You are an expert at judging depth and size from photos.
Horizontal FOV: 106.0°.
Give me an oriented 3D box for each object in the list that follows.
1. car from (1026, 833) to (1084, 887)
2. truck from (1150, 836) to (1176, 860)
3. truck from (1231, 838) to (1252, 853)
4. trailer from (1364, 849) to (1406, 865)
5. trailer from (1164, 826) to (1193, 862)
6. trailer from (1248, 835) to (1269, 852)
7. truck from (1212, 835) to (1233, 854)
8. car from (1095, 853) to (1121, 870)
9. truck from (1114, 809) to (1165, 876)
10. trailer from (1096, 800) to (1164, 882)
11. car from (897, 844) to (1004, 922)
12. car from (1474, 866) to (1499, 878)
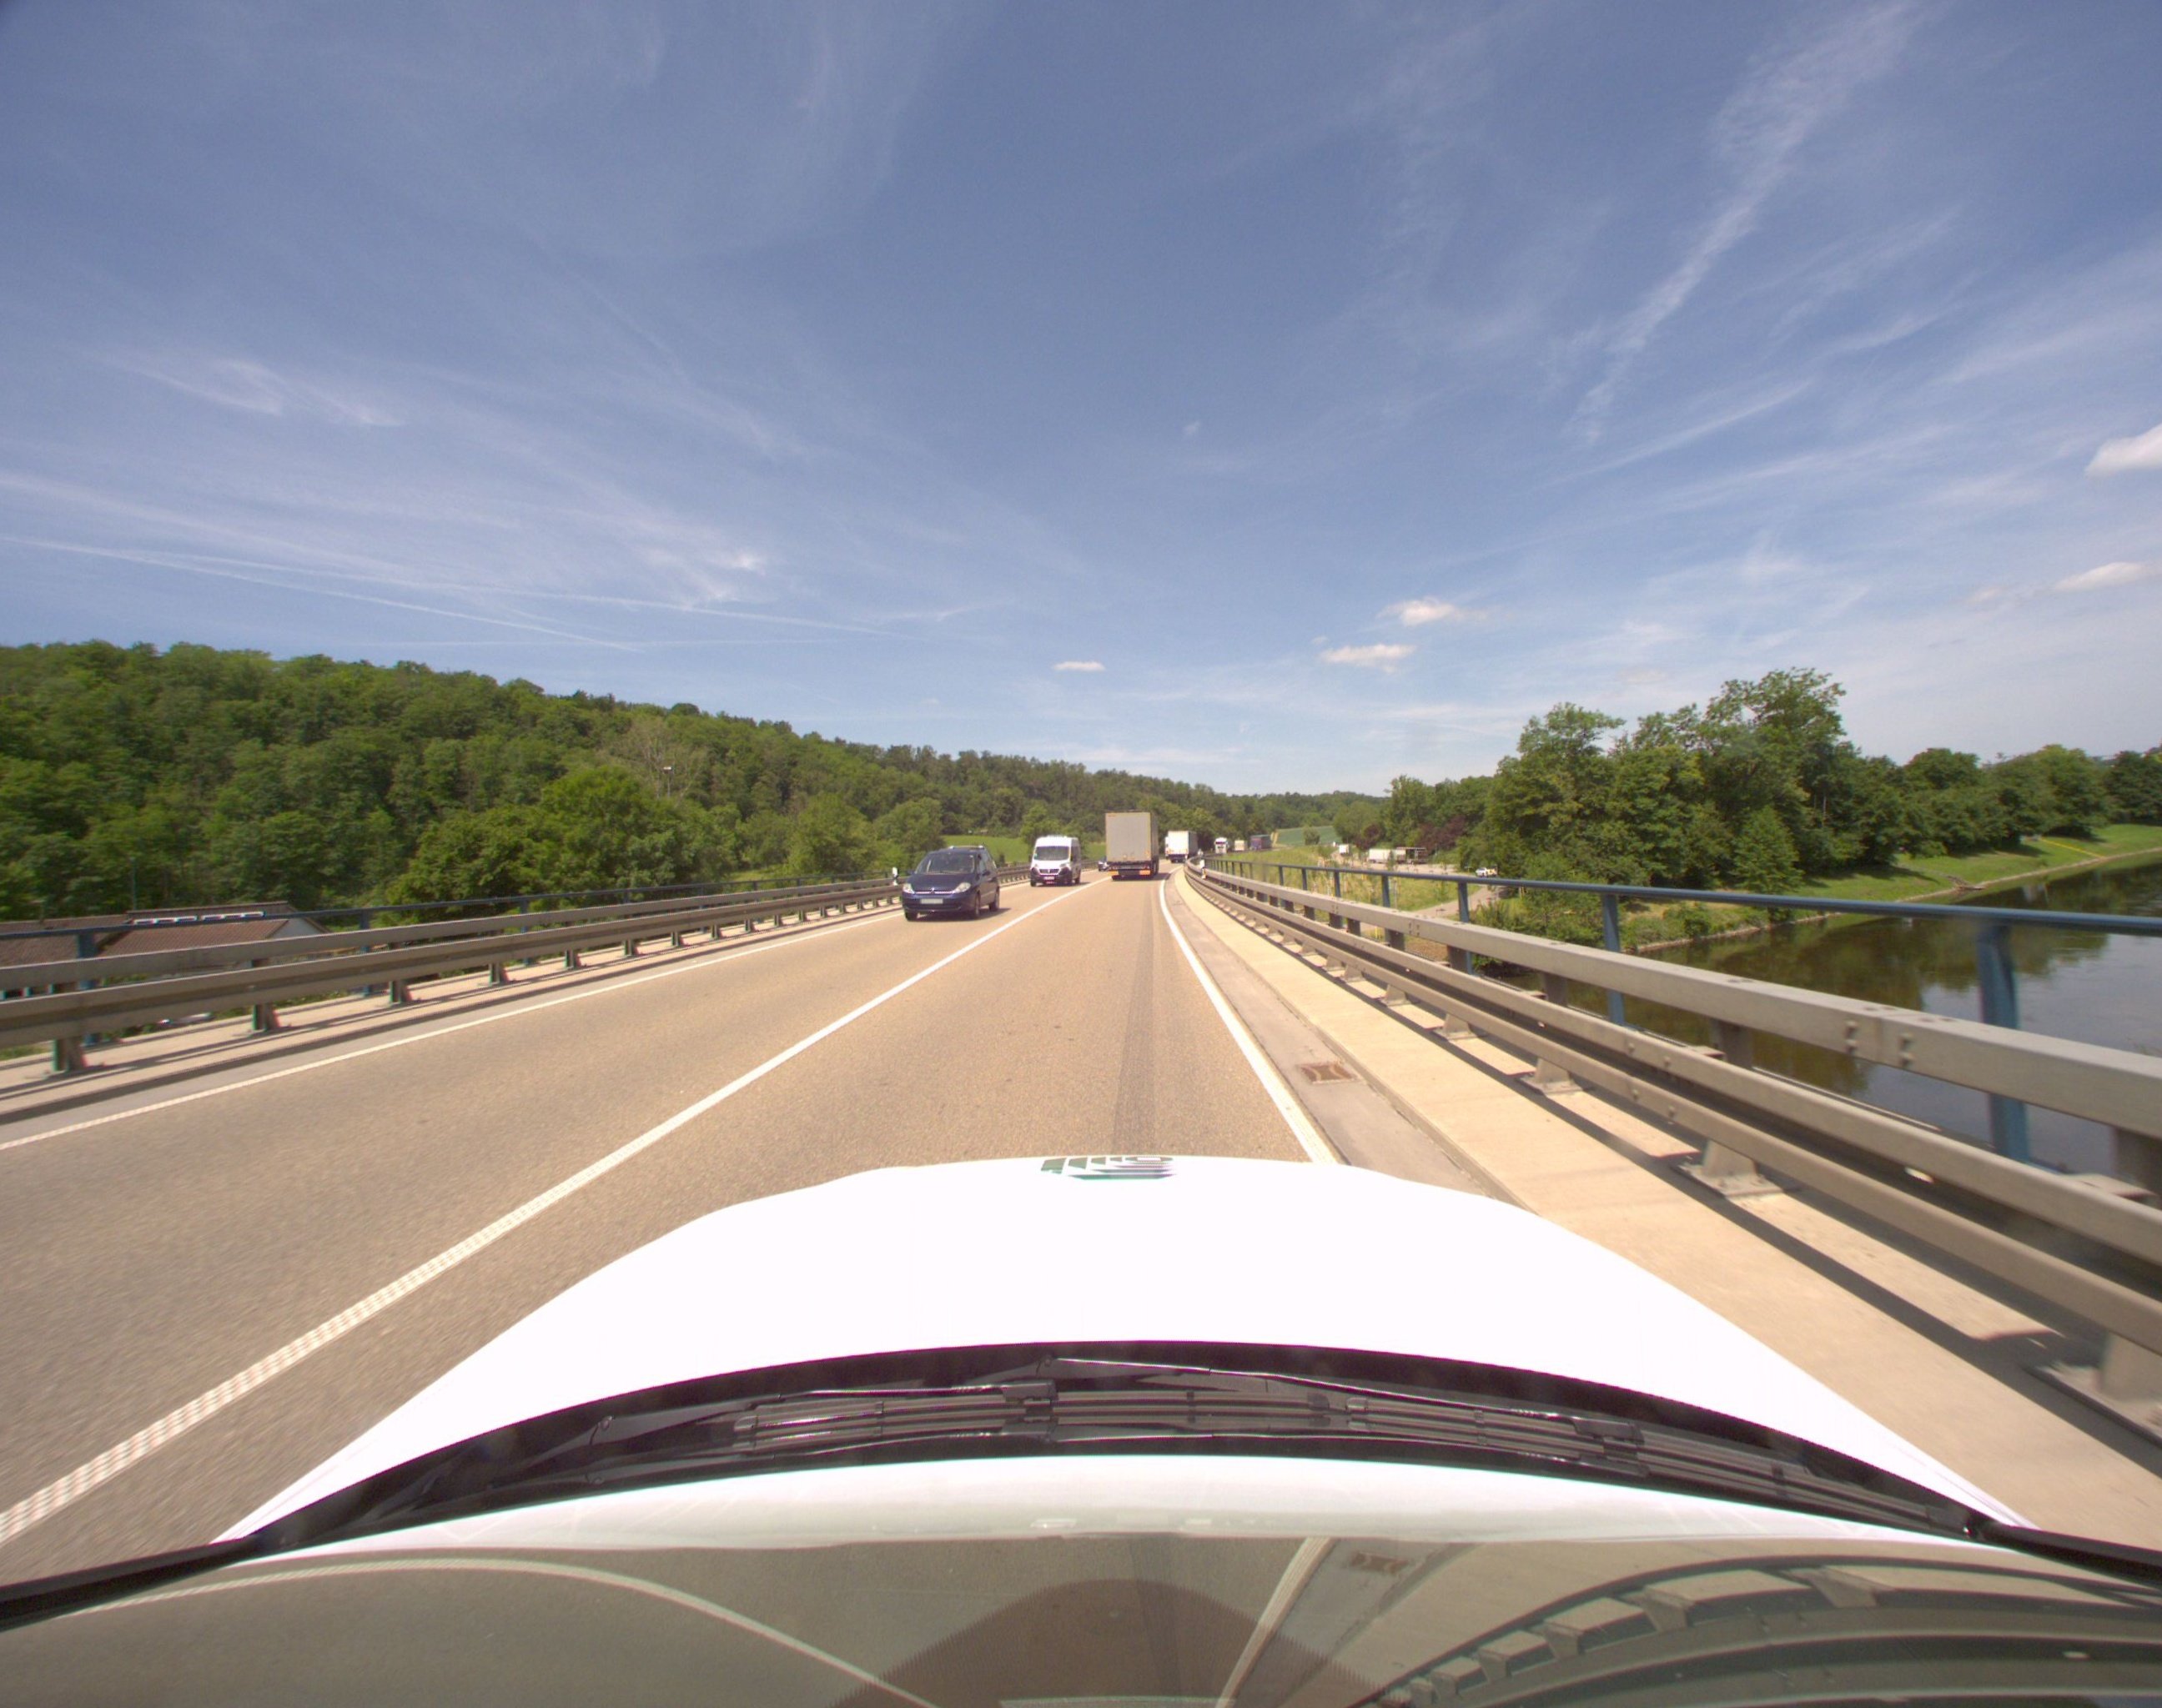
[{"bbox_3d":[-1.235,0.300,42.169,2.168,2.559,5.807,-1,0,6],"label":"car"},{"bbox_3d":[13.457,-1.030,132.957,2.894,3.803,9.743,-1,0,13],"label":"truck"},{"bbox_3d":[36.950,-1.857,186.847,3.197,3.365,11.930,-1,0,18],"label":"truck"},{"bbox_3d":[67.750,0.620,181.961,2.721,3.327,11.846,-1,1,-12],"label":"trailer"},{"bbox_3d":[12.850,-1.210,106.462,3.346,4.317,13.897,-1,0,8],"label":"trailer"},{"bbox_3d":[45.398,-2.644,207.582,3.617,4.263,12.255,-1,0,20],"label":"trailer"},{"bbox_3d":[32.198,-2.066,184.529,3.035,4.263,9.915,-1,0,19],"label":"truck"},{"bbox_3d":[2.441,0.665,71.927,1.711,1.435,4.628,-1,0,8],"label":"car"},{"bbox_3d":[4.325,-0.802,58.605,3.101,4.494,6.826,-1,0,8],"label":"truck"},{"bbox_3d":[3.420,-0.766,52.201,3.101,4.499,13.918,-1,0,8],"label":"trailer"},{"bbox_3d":[-3.289,0.689,21.534,1.845,1.798,4.980,-1,0,2],"label":"car"},{"bbox_3d":[59.863,2.683,120.273,1.847,1.482,4.617,-5,0,7],"label":"car"}]
